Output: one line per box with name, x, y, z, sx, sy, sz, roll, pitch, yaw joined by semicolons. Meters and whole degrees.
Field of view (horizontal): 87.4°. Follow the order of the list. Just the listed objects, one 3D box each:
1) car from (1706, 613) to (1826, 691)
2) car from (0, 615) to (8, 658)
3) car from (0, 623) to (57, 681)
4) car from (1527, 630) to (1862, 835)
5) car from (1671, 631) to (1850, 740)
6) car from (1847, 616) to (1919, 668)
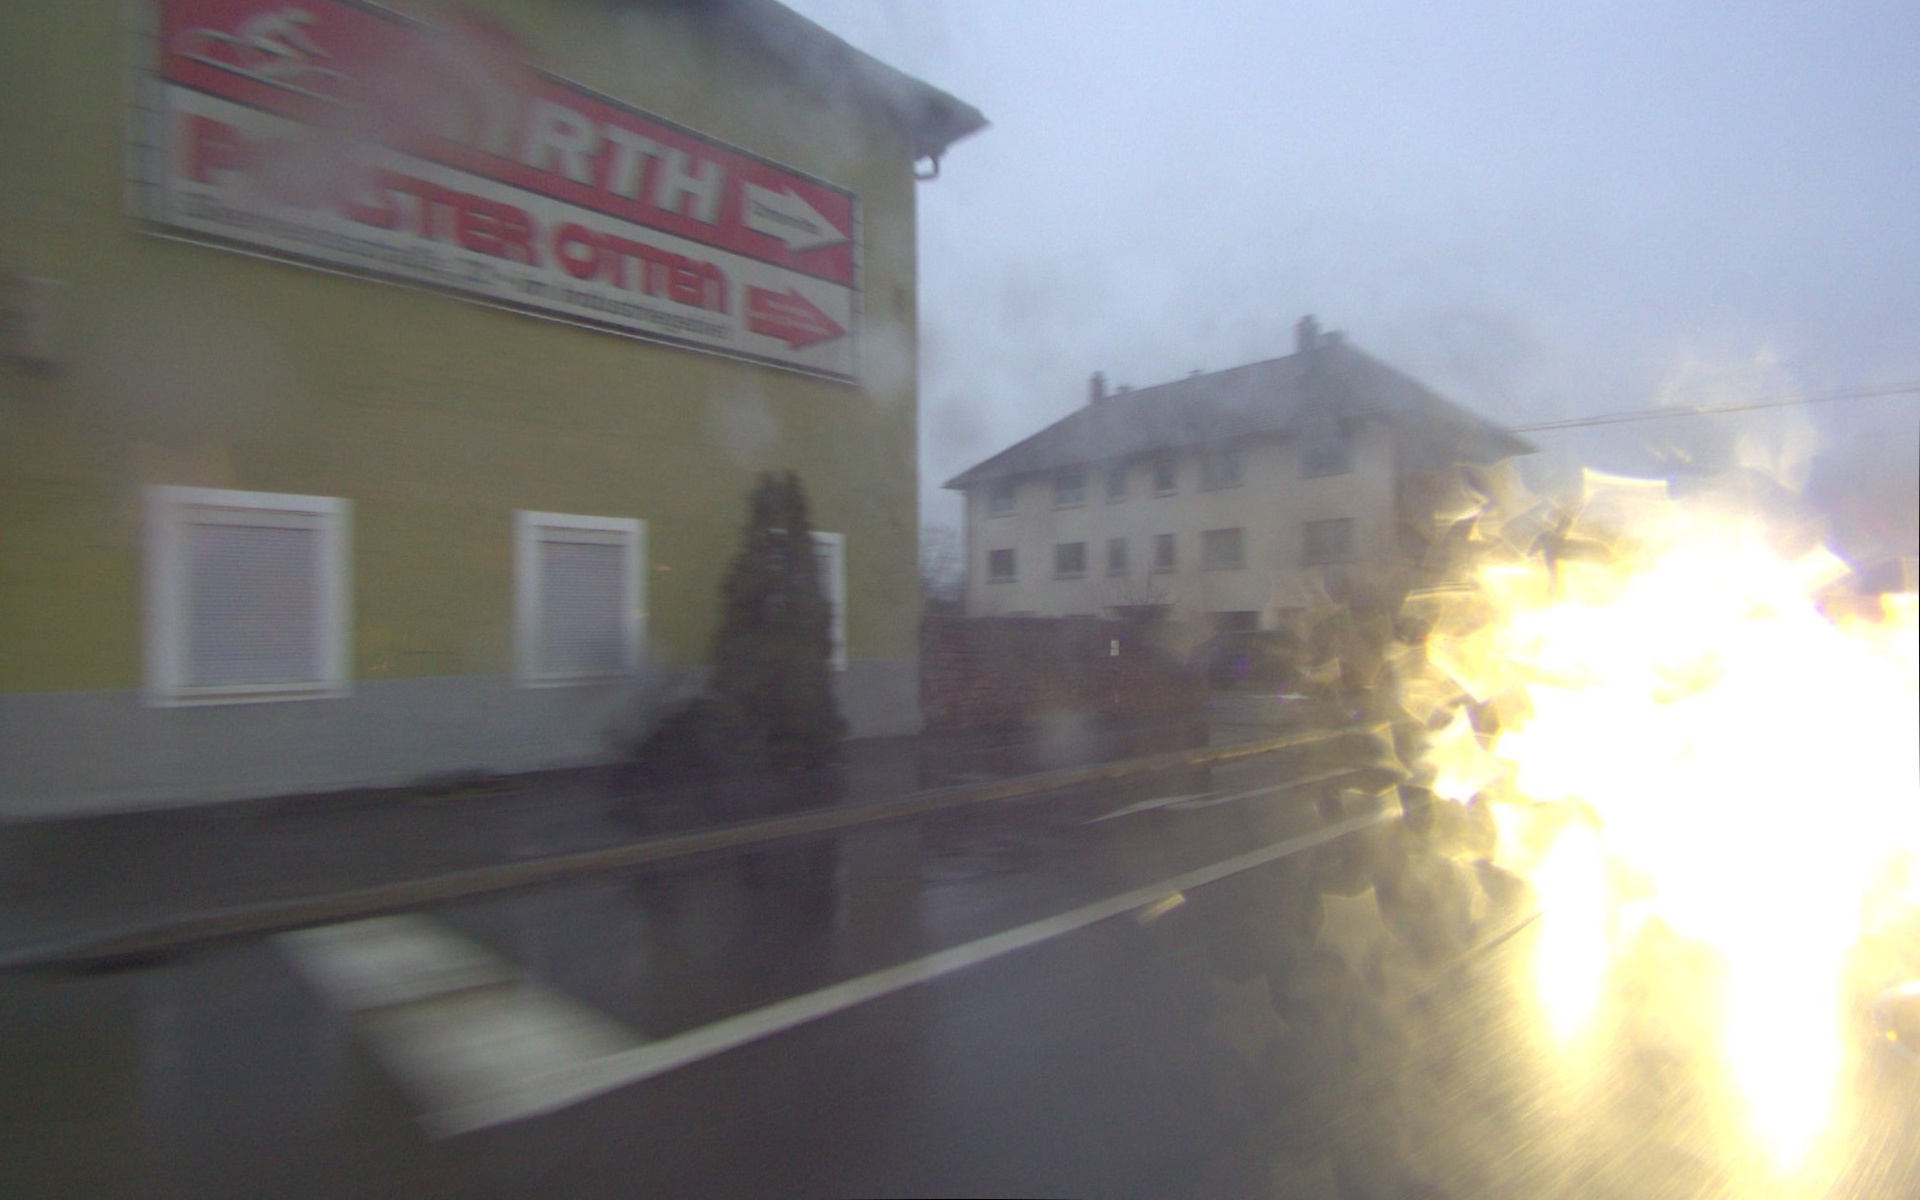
car;18.312;1.118;22.750;1.855;1.606;4.267;-3;-2;42
car;-43.602;1.614;44.576;1.880;1.893;3.947;1;-2;-45
car;-28.447;1.512;29.985;3.947;1.646;1.987;-2;-2;45
car;7.058;1.022;9.439;1.861;1.412;4.494;-2;-2;45
car;12.327;1.197;15.365;1.806;1.391;4.261;-2;-2;43
car;35.700;1.586;38.794;1.970;1.906;3.982;-2;-2;39
